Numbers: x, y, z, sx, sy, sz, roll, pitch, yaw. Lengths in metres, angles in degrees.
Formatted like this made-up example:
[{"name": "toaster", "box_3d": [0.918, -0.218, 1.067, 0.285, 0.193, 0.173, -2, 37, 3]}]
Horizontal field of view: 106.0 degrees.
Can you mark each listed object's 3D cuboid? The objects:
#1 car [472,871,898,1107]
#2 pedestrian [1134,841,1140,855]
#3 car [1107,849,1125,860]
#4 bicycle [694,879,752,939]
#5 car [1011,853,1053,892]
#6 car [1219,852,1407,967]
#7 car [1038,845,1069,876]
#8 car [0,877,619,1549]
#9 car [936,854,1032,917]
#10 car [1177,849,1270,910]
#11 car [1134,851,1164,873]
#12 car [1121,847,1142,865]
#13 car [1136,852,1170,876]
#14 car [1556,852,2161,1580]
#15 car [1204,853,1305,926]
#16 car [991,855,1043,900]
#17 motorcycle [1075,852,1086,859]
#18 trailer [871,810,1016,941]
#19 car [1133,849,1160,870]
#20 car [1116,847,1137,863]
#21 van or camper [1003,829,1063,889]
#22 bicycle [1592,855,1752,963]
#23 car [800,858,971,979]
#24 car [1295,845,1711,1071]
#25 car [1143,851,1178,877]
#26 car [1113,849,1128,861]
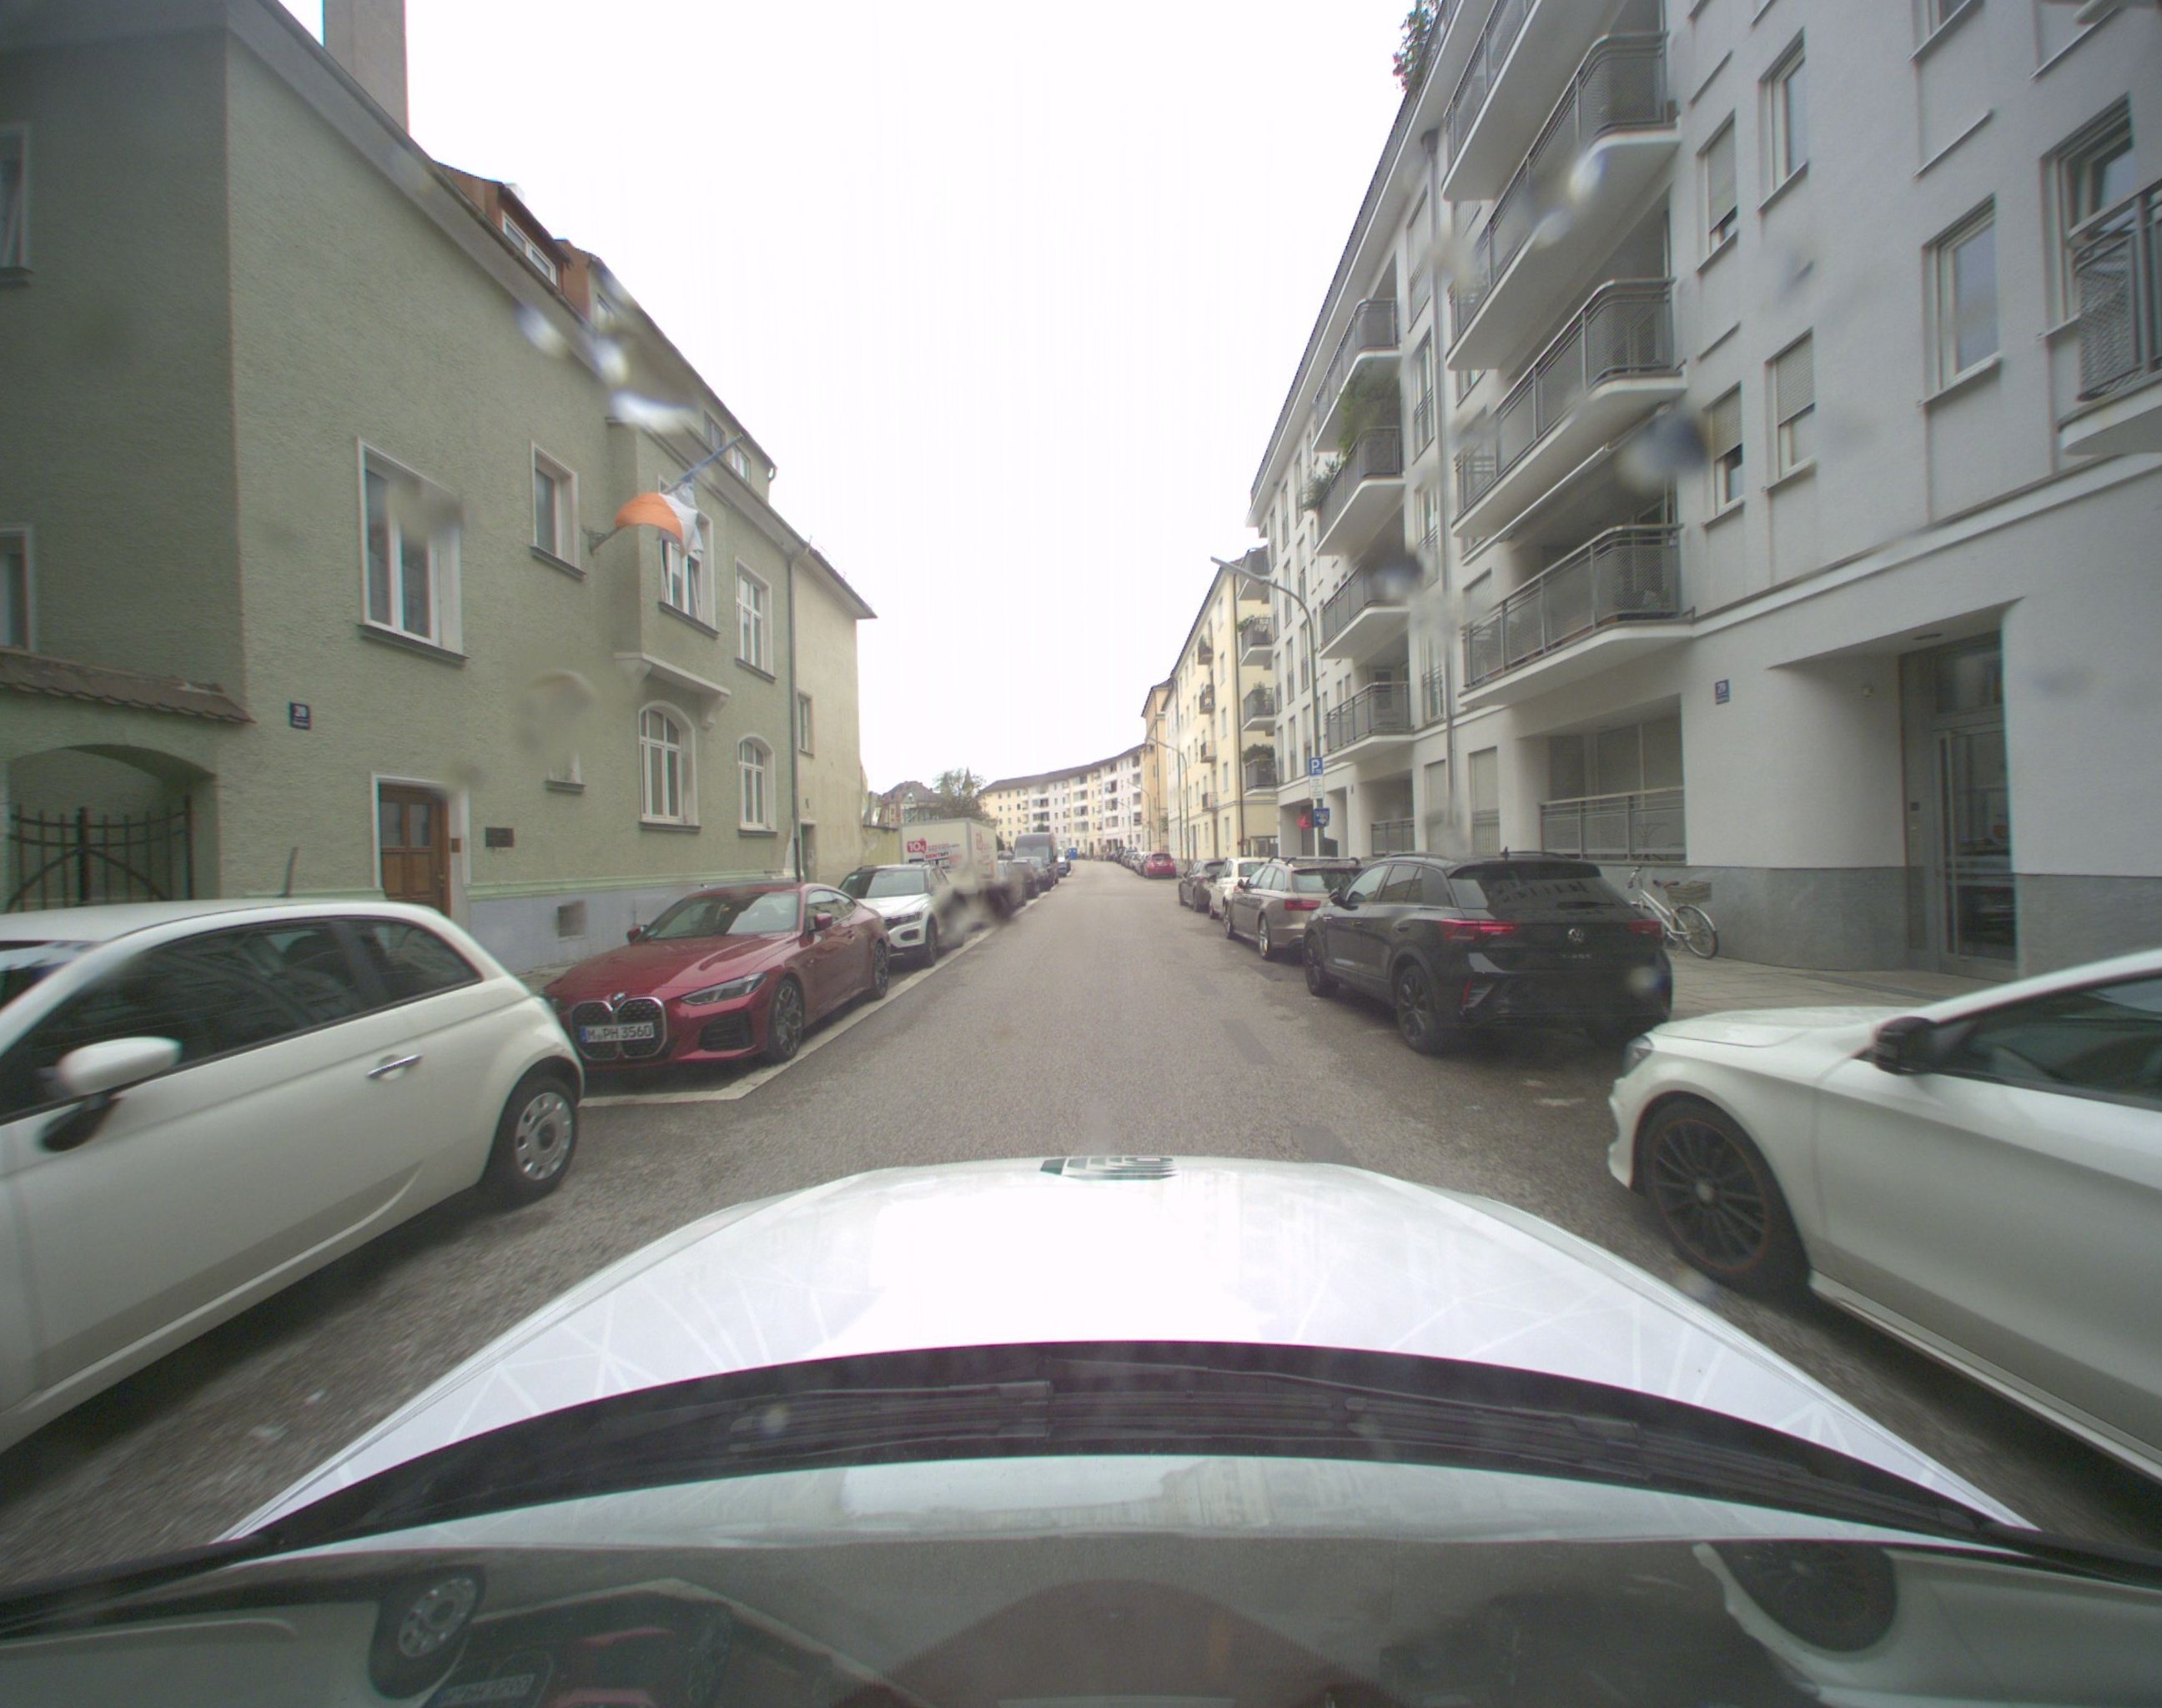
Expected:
[{"name": "car", "box_3d": [-3.164, 0.955, 7.689, 1.739, 1.368, 4.403, -3, 1, 1]}, {"name": "pedestrian", "box_3d": [7.438, -0.792, 107.883, 0.615, 1.690, 0.919, -5, 0, 0]}, {"name": "car", "box_3d": [4.654, 0.066, 109.465, 1.904, 1.477, 4.940, -1, 1, -4]}, {"name": "bicycle", "box_3d": [-7.059, 1.060, 16.113, 0.458, 1.085, 1.523, 0, 0, 1]}, {"name": "car", "box_3d": [-2.111, 0.771, 35.691, 1.648, 1.497, 3.905, -3, 0, -2]}, {"name": "car", "box_3d": [3.483, 0.731, 13.166, 1.785, 1.482, 4.604, -1, 0, 1]}, {"name": "car", "box_3d": [-1.822, 0.389, 53.721, 1.910, 1.960, 4.957, -1, 1, -2]}, {"name": "car", "box_3d": [-3.340, 0.910, 2.619, 1.621, 1.467, 3.520, -3, 0, 0]}, {"name": "car", "box_3d": [-2.736, 0.838, 24.191, 1.856, 1.541, 5.096, -3, 0, 3]}, {"name": "car", "box_3d": [3.870, 0.638, 22.784, 1.766, 1.475, 4.216, -1, 1, -1]}, {"name": "car", "box_3d": [4.761, 0.519, 57.666, 1.719, 1.429, 4.293, -1, 1, 0]}, {"name": "car", "box_3d": [5.094, 0.176, 82.724, 1.841, 1.663, 4.496, -1, 1, -1]}, {"name": "car", "box_3d": [4.567, 0.585, 52.093, 1.767, 1.429, 4.615, -1, 1, 0]}, {"name": "car", "box_3d": [3.024, 0.738, 1.539, 1.659, 1.467, 4.374, 0, 0, -1]}, {"name": "car", "box_3d": [3.851, 0.727, 18.662, 1.611, 1.467, 3.748, -1, 1, 1]}, {"name": "car", "box_3d": [-2.376, 0.838, 31.092, 1.671, 1.436, 4.284, -3, 0, -2]}, {"name": "motorcycle", "box_3d": [-0.050, 0.218, 141.745, 0.936, 1.221, 2.487, -1, 0, -23]}, {"name": "trailer", "box_3d": [-2.927, 0.428, 18.491, 1.967, 2.471, 4.583, -4, 0, 5]}, {"name": "car", "box_3d": [5.000, 0.402, 62.594, 1.646, 1.543, 3.991, -1, 1, -2]}, {"name": "car", "box_3d": [5.215, 0.056, 92.988, 2.162, 1.739, 5.024, -1, 1, 1]}, {"name": "van or camper", "box_3d": [-2.287, 0.196, 40.727, 2.284, 2.650, 5.565, -4, 0, 2]}, {"name": "bicycle", "box_3d": [6.961, 0.597, 9.717, 0.567, 1.098, 1.811, -5, 0, 2]}, {"name": "car", "box_3d": [-2.973, 0.898, 13.292, 1.673, 1.530, 4.108, -3, 1, 1]}, {"name": "car", "box_3d": [3.396, 0.696, 7.541, 1.831, 1.533, 4.022, 0, 0, 1]}, {"name": "car", "box_3d": [4.561, 0.558, 47.115, 1.649, 1.429, 3.755, -1, 1, 0]}, {"name": "car", "box_3d": [4.990, 0.115, 103.198, 1.627, 1.417, 3.676, -1, 1, -3]}]
